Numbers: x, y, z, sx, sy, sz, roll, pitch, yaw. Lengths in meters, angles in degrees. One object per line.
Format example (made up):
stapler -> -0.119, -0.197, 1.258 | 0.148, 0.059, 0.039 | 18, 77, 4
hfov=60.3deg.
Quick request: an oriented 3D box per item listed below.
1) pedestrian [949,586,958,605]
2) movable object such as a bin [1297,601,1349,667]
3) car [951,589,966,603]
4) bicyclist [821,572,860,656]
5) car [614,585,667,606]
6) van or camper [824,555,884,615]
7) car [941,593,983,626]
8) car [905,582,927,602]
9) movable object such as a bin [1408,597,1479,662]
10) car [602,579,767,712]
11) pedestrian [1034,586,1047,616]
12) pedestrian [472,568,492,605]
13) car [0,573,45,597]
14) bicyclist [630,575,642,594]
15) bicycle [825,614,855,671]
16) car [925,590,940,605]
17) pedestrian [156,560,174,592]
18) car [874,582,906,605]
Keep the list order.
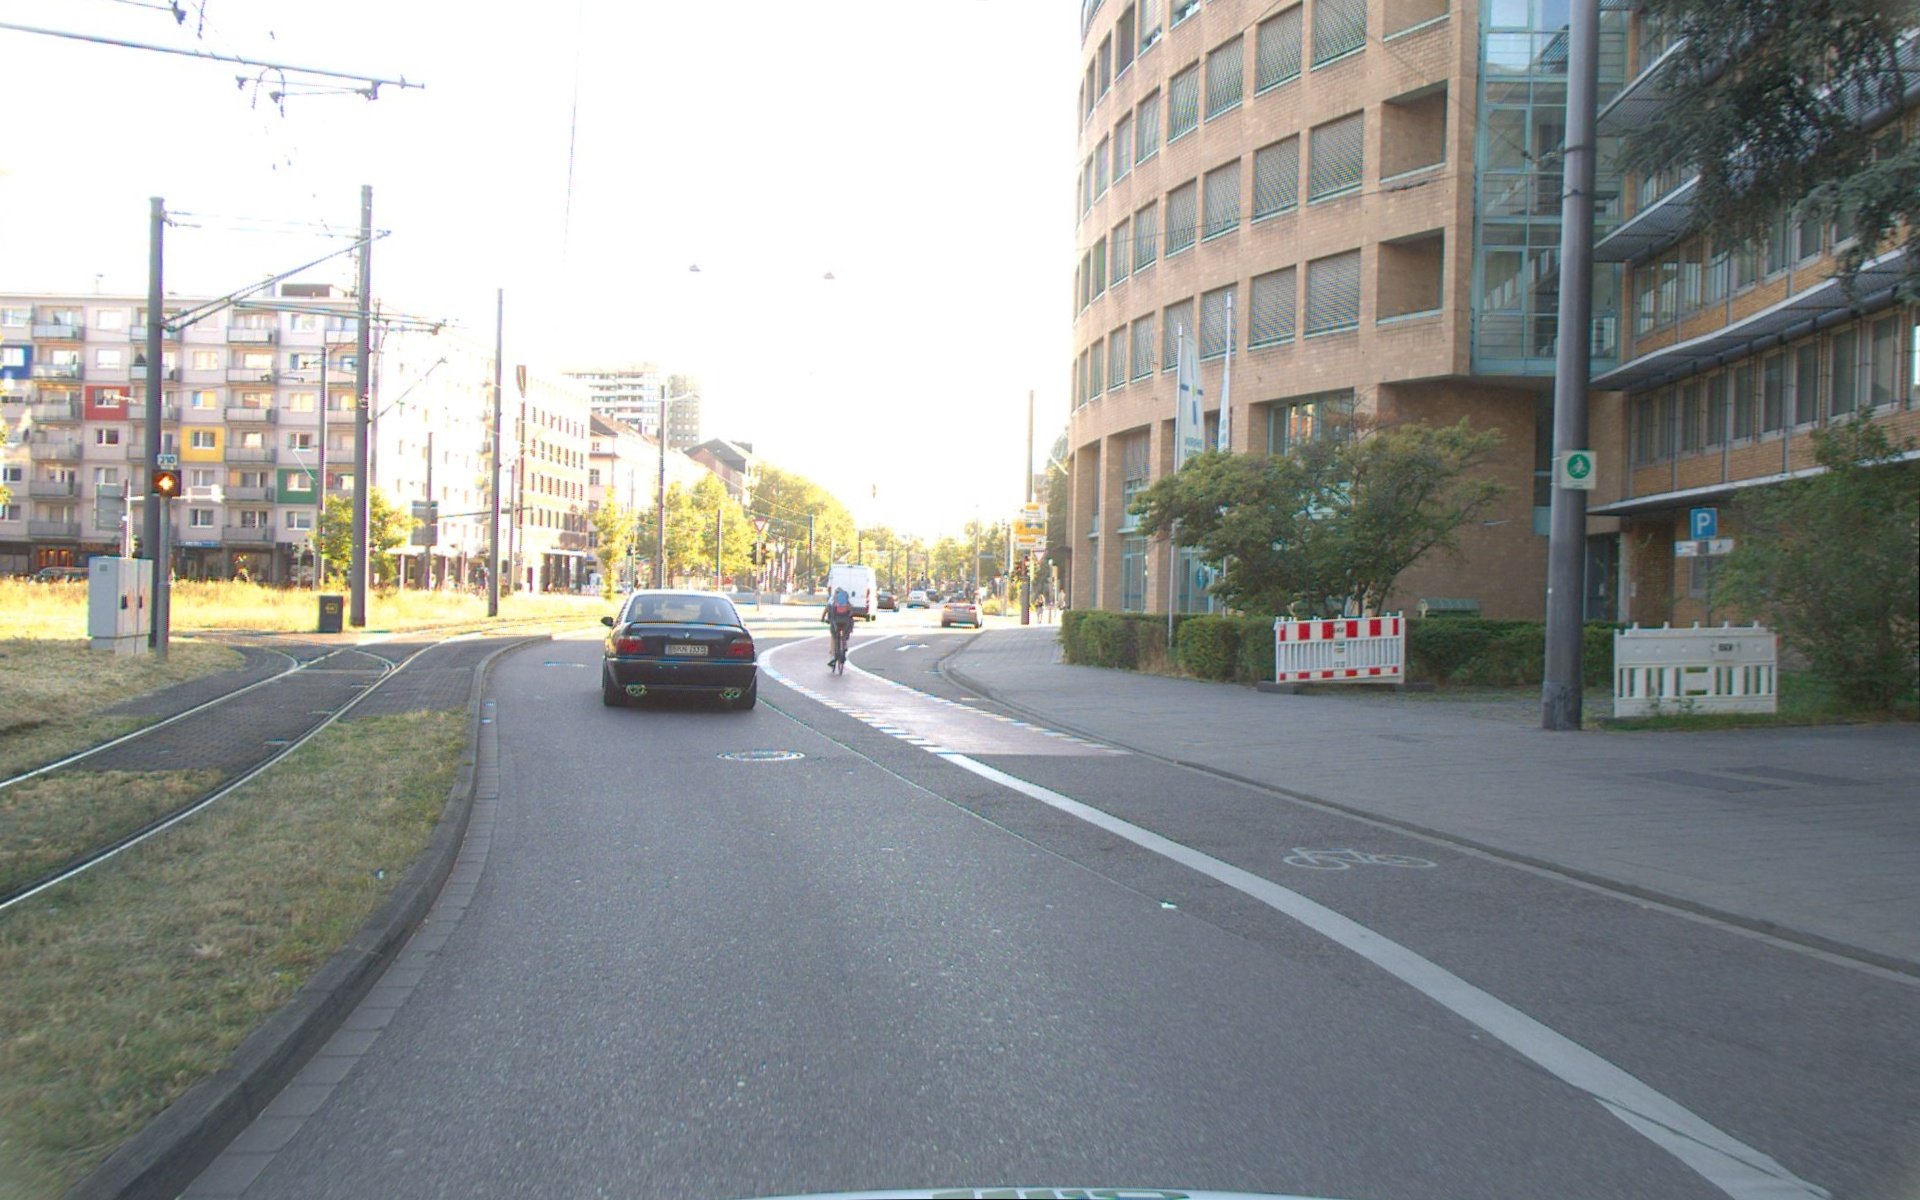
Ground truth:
pedestrian -> -0.535, -0.398, 133.664 | 0.603, 1.501, 0.801 | 1, 1, 7
movable object such as a bin -> 8.487, 0.778, 38.664 | 0.951, 1.462, 1.345 | 1, 1, 22
car -> -0.227, -0.508, 199.011 | 1.758, 1.593, 4.000 | 1, 1, -1
bicyclist -> -2.237, 0.259, 30.924 | 0.642, 1.509, 1.037 | 3, 0, -5
car -> -25.466, -0.343, 131.802 | 3.922, 1.459, 1.711 | 2, 2, -16
van or camper -> -4.891, -0.714, 77.043 | 2.215, 2.670, 4.505 | 1, 1, 4
car -> 0.112, 0.427, 76.548 | 1.746, 1.377, 4.268 | 2, 1, 2
car -> -3.688, -0.696, 140.078 | 1.758, 1.593, 4.000 | 1, 1, -1
movable object such as a bin -> 11.100, 0.669, 37.983 | 1.314, 1.449, 0.923 | 1, 1, -5
car -> -3.458, 0.493, 21.165 | 1.796, 1.377, 4.633 | 3, 1, -8
pedestrian -> 4.345, 0.074, 89.699 | 0.663, 1.597, 0.800 | 1, 1, 1
pedestrian -> -23.549, -0.663, 81.471 | 0.705, 1.793, 0.650 | 1, 1, 24
car -> -67.264, -1.091, 117.252 | 3.787, 1.612, 1.803 | 1, 1, -2
bicyclist -> -25.477, -1.230, 129.993 | 0.839, 1.467, 0.660 | 3, 1, -16
bicycle -> -2.253, 0.785, 30.971 | 0.505, 0.971, 1.774 | 3, 1, -5
car -> -3.141, -0.299, 189.194 | 1.758, 1.593, 4.000 | 1, 1, -1
pedestrian -> -47.676, -1.443, 99.160 | 0.690, 1.884, 0.737 | 1, 1, 3
car -> -4.611, -0.431, 109.838 | 1.701, 1.410, 4.002 | 1, 1, 4
